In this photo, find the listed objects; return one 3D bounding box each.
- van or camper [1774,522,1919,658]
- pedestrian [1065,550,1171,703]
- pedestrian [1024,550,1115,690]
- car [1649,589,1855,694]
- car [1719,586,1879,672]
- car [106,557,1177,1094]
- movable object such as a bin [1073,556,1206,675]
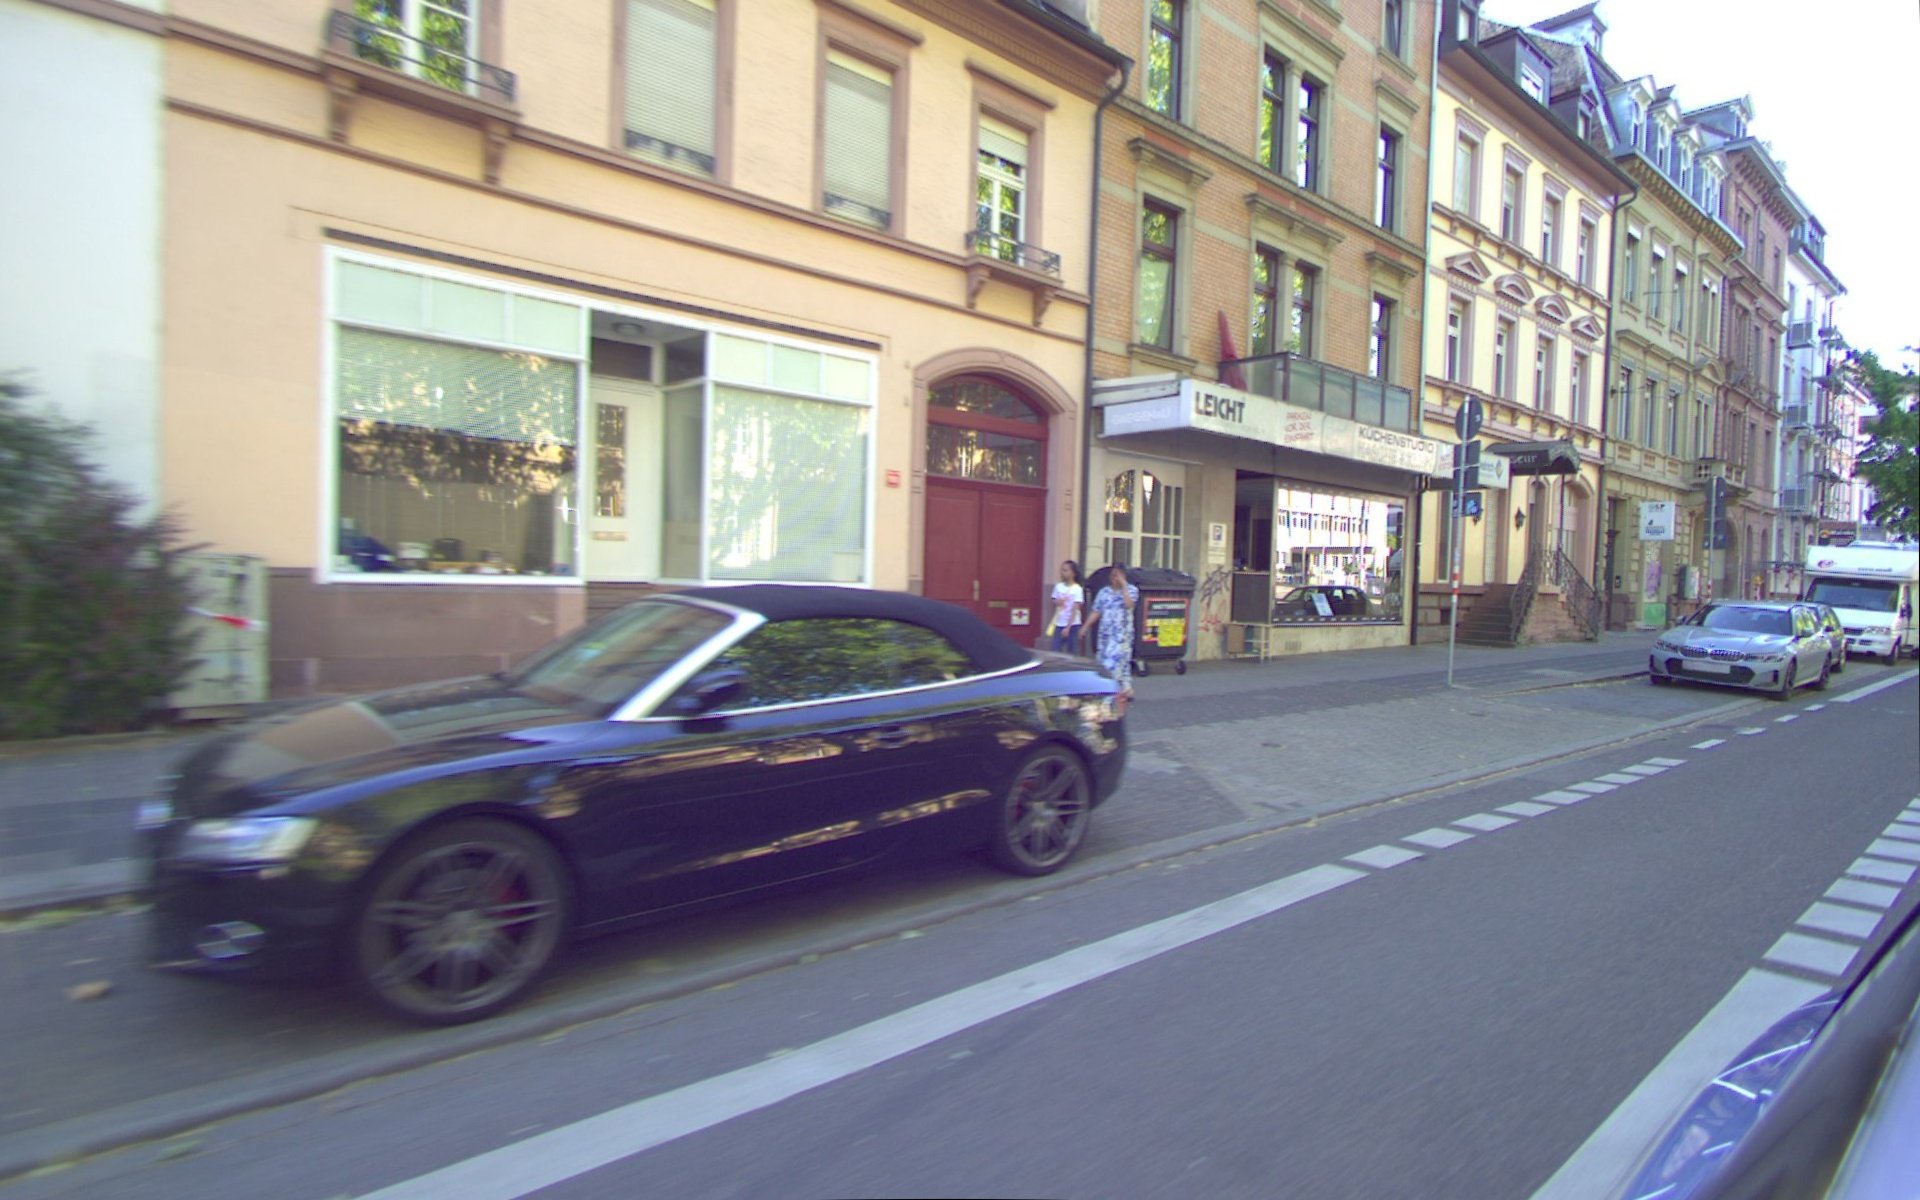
[{"bbox_3d":[23.861,-0.312,26.242,7.741,3.007,2.485,0,5,-39],"label":"van or camper"},{"bbox_3d":[1.664,0.252,10.649,0.851,1.523,0.661,0,3,-41],"label":"pedestrian"},{"bbox_3d":[1.224,0.206,11.330,0.771,1.501,0.659,0,1,-41],"label":"pedestrian"},{"bbox_3d":[13.380,0.586,16.993,4.583,1.452,1.814,-1,3,-41],"label":"car"},{"bbox_3d":[17.136,0.519,20.617,3.956,1.451,1.650,0,5,-39],"label":"car"},{"bbox_3d":[-1.089,0.566,4.758,4.413,1.409,1.698,0,3,-39],"label":"car"},{"bbox_3d":[2.481,0.178,14.007,1.263,1.539,1.296,0,1,-40],"label":"movable object such as a bin"}]
